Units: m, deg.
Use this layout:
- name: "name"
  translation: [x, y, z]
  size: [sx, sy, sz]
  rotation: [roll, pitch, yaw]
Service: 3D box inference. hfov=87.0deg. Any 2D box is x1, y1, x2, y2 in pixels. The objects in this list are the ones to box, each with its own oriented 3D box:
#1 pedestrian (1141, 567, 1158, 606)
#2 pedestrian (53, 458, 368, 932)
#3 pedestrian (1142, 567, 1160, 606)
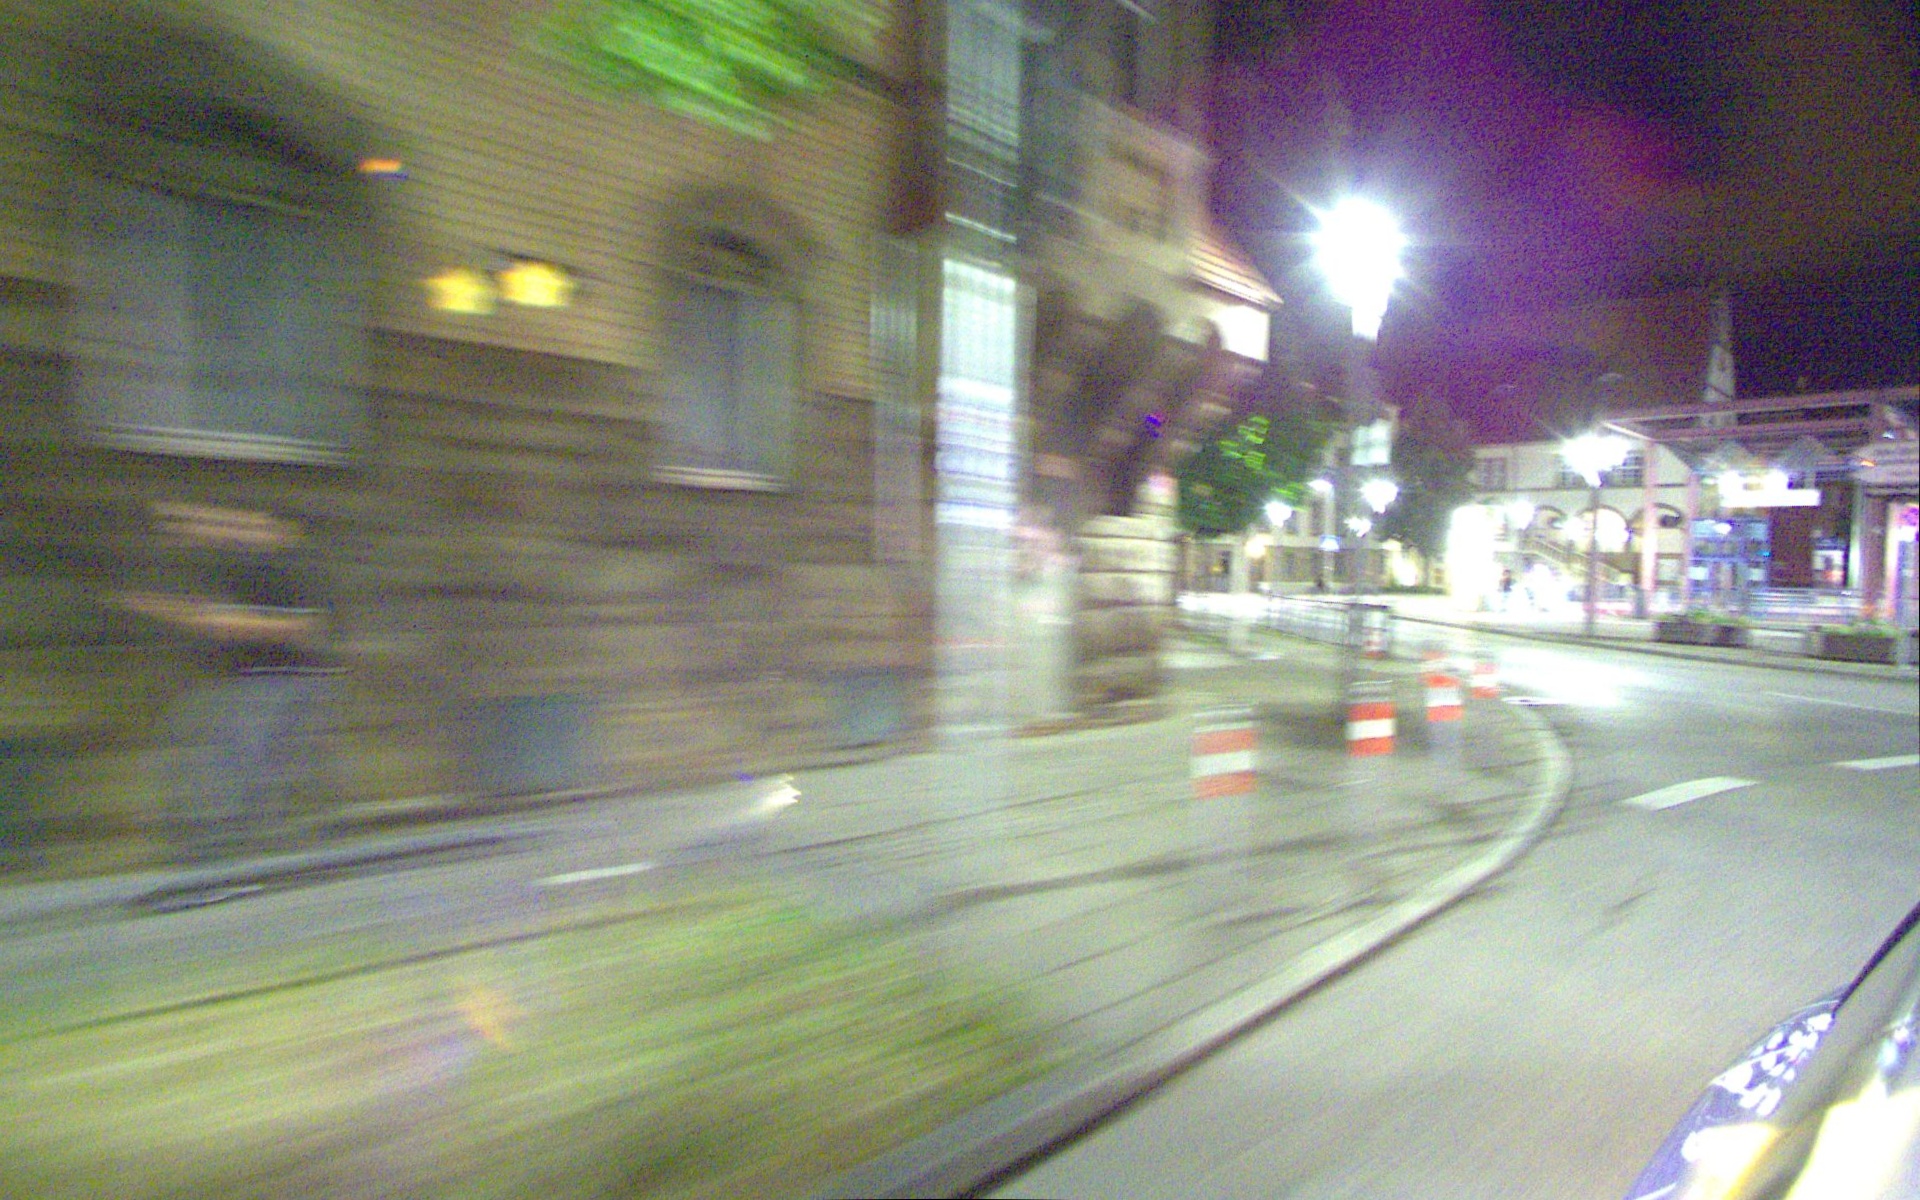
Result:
- name: "pedestrian"
  translation: [6.498, -0.478, 34.762]
  size: [0.506, 1.315, 0.466]
  rotation: [1, 2, 4]
- name: "pedestrian"
  translation: [-3.042, 0.315, 4.136]
  size: [0.949, 1.651, 0.808]
  rotation: [-1, 2, -41]
- name: "pedestrian"
  translation: [6.458, -0.460, 34.284]
  size: [0.506, 1.315, 0.466]
  rotation: [1, 2, 4]
